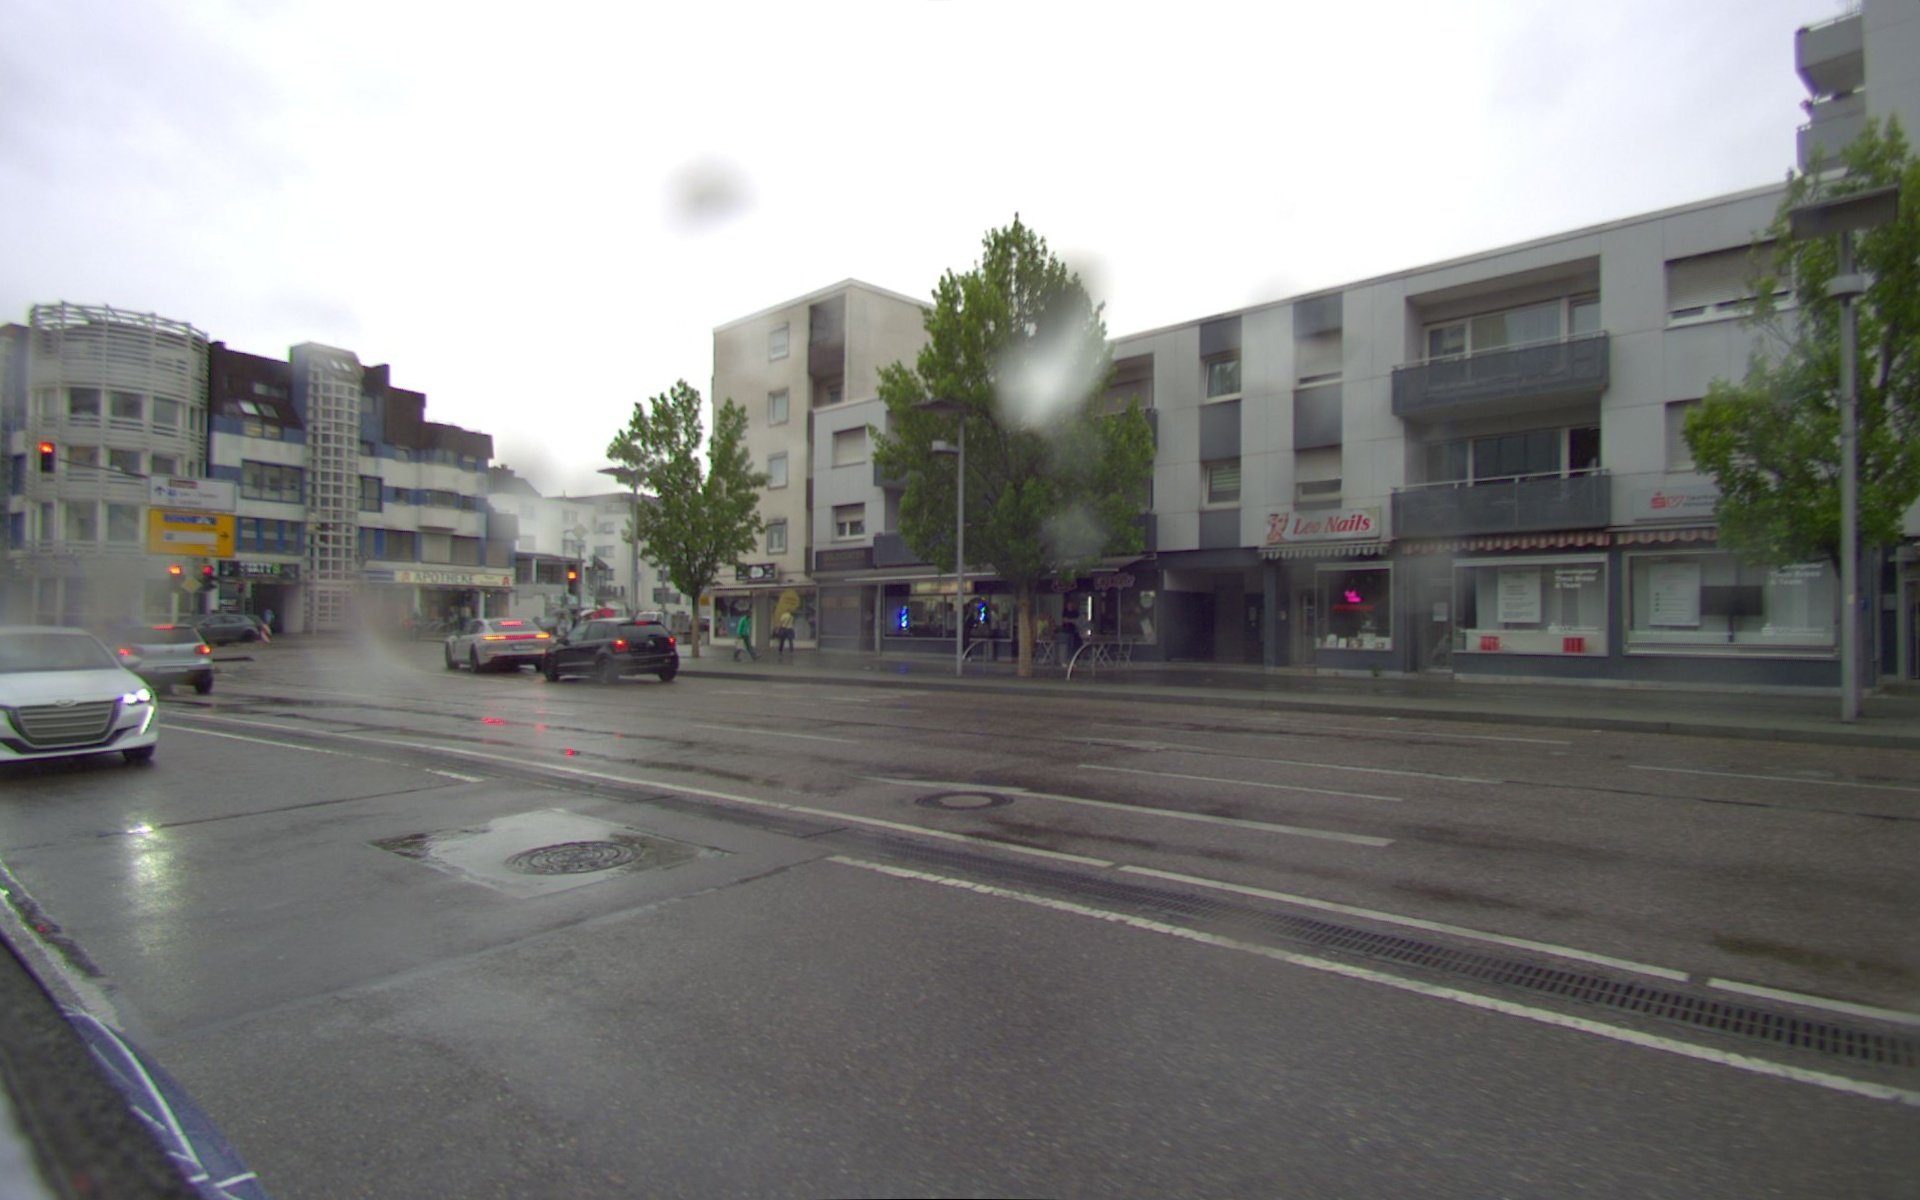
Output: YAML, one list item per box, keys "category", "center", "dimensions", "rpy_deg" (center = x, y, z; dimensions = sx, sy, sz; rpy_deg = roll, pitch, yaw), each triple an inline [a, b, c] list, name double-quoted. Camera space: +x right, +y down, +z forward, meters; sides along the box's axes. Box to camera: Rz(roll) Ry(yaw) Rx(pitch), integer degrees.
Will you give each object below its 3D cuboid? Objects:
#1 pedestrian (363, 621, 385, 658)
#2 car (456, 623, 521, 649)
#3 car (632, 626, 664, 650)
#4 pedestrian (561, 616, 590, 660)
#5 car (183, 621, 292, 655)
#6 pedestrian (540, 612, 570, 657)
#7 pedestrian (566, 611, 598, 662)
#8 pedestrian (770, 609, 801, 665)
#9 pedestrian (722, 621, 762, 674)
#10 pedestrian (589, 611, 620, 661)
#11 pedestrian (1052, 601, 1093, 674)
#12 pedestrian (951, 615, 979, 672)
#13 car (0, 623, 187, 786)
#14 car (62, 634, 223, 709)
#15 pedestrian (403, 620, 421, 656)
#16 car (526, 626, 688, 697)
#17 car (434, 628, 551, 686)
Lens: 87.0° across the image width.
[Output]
- category: "pedestrian"
  center: [-28.421, 1.896, 49.092]
  dimensions: [0.826, 1.756, 0.586]
  rpy_deg: [0, -1, -41]
- category: "car"
  center: [-32.281, 2.473, 69.427]
  dimensions: [1.738, 1.733, 3.862]
  rpy_deg: [-1, -2, 25]
- category: "car"
  center: [-27.923, 3.383, 90.606]
  dimensions: [1.969, 2.029, 4.605]
  rpy_deg: [0, -1, -7]
- category: "pedestrian"
  center: [-17.147, 1.675, 45.104]
  dimensions: [0.978, 1.929, 0.893]
  rpy_deg: [-2, -3, 43]
- category: "car"
  center: [-32.933, 1.717, 46.225]
  dimensions: [1.622, 1.501, 3.812]
  rpy_deg: [-1, -2, 21]
- category: "pedestrian"
  center: [-17.788, 1.519, 44.428]
  dimensions: [0.978, 1.929, 0.893]
  rpy_deg: [-2, -3, 43]
- category: "pedestrian"
  center: [-15.381, 1.472, 41.197]
  dimensions: [0.978, 2.029, 0.893]
  rpy_deg: [-2, -3, 43]
- category: "pedestrian"
  center: [-6.330, 1.339, 36.723]
  dimensions: [0.864, 2.029, 0.750]
  rpy_deg: [-2, -3, 42]
- category: "pedestrian"
  center: [-6.902, 1.485, 31.994]
  dimensions: [0.727, 1.658, 0.996]
  rpy_deg: [-2, -2, 43]
- category: "pedestrian"
  center: [-14.825, 1.487, 42.175]
  dimensions: [0.978, 2.029, 0.893]
  rpy_deg: [-2, -3, 43]
- category: "pedestrian"
  center: [3.176, 1.057, 28.641]
  dimensions: [0.749, 2.029, 0.865]
  rpy_deg: [1, -3, -43]
- category: "pedestrian"
  center: [0.151, 1.355, 31.672]
  dimensions: [0.541, 1.764, 0.681]
  rpy_deg: [1, -3, -44]
- category: "car"
  center: [-10.030, 1.003, 10.814]
  dimensions: [3.866, 1.473, 1.854]
  rpy_deg: [-1, -1, 37]
- category: "car"
  center: [-17.644, 1.490, 21.789]
  dimensions: [3.992, 1.462, 1.741]
  rpy_deg: [-2, -2, 36]
- category: "pedestrian"
  center: [-27.184, 1.895, 50.211]
  dimensions: [0.672, 1.756, 0.587]
  rpy_deg: [0, -1, -21]
- category: "car"
  center: [-8.011, 1.353, 22.796]
  dimensions: [3.998, 1.438, 1.739]
  rpy_deg: [-3, -3, 42]
- category: "car"
  center: [-12.936, 1.501, 27.829]
  dimensions: [1.735, 1.438, 4.896]
  rpy_deg: [1, -2, -40]
